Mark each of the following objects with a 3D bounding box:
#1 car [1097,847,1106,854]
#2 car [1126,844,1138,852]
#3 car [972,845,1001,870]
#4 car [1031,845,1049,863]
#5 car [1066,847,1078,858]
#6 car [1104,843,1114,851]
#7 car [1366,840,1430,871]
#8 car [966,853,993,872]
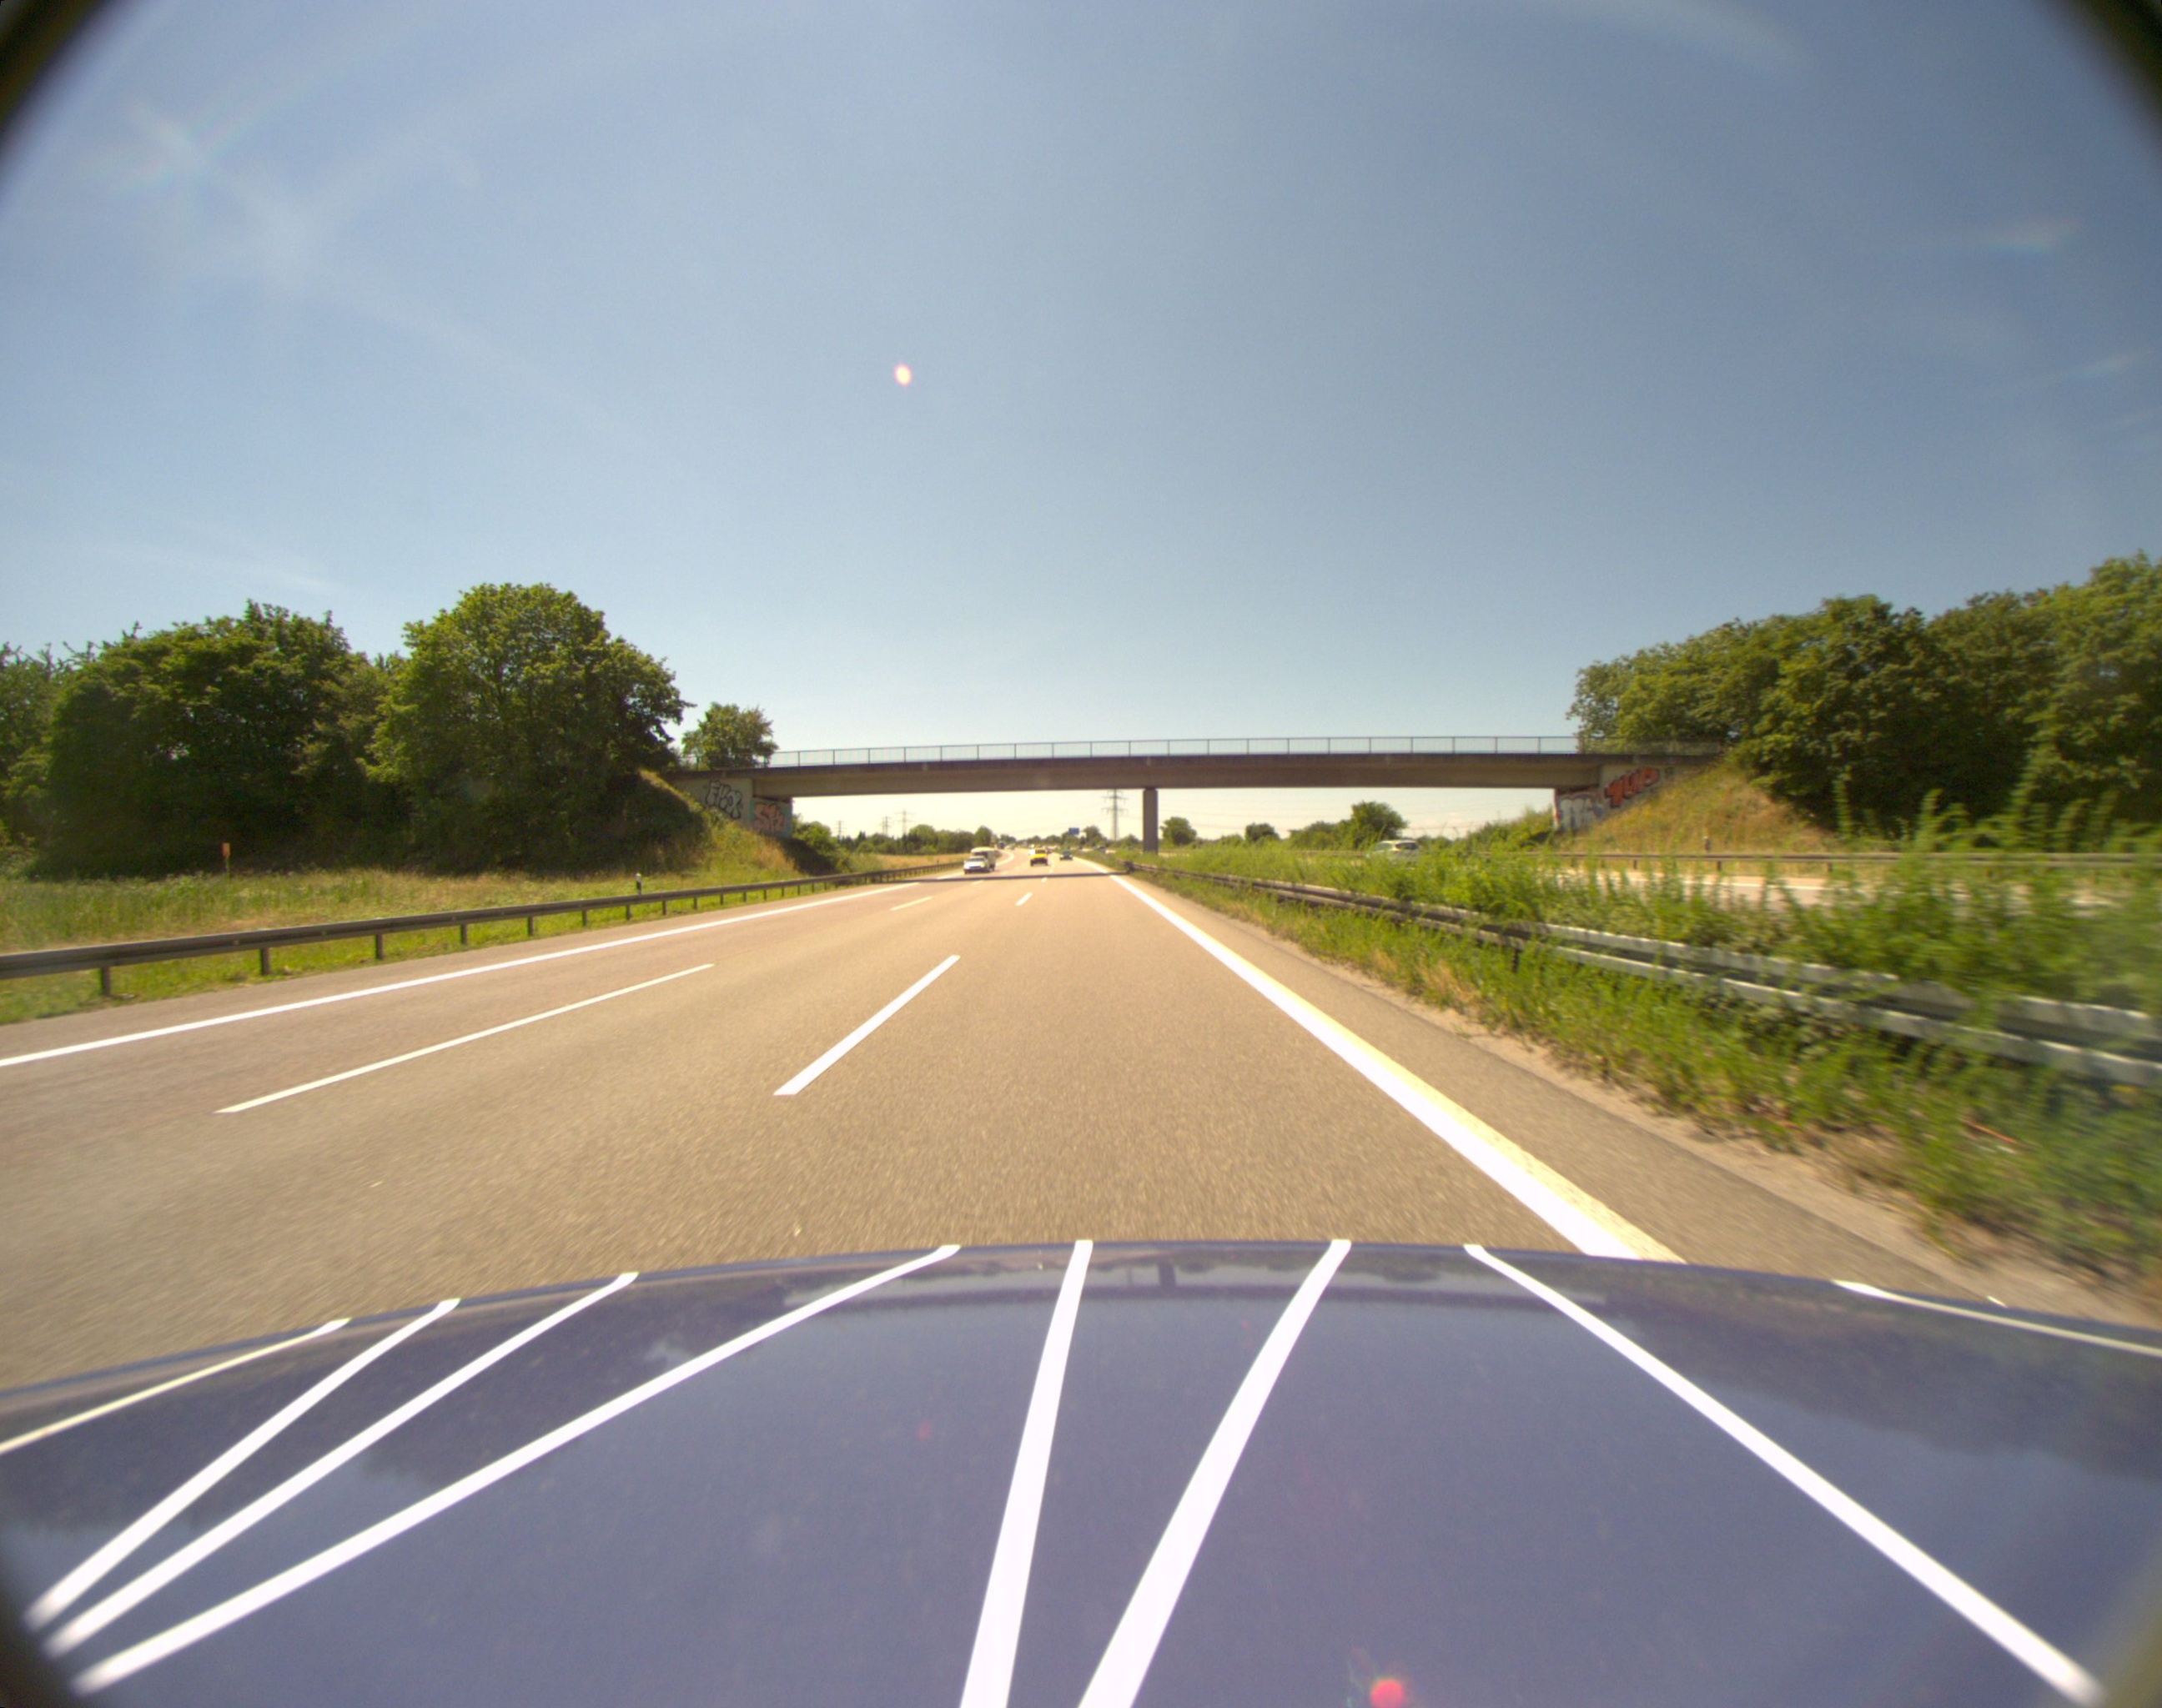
[{"bbox_3d":[4.632,-0.791,168.727,1.715,1.565,3.998,-1,1,-2],"label":"car"},{"bbox_3d":[10.601,-1.231,158.137,1.681,1.592,5.633,-3,1,-3],"label":"car"},{"bbox_3d":[-8.696,0.292,70.128,2.188,2.253,4.950,-1,1,-2],"label":"car"},{"bbox_3d":[-4.491,0.001,83.608,1.777,1.882,3.831,-1,1,-2],"label":"car"},{"bbox_3d":[-1.292,-0.229,113.022,1.726,1.478,3.999,-2,0,-1],"label":"car"},{"bbox_3d":[7.249,-1.745,195.906,1.909,2.002,4.822,-2,1,-4],"label":"car"},{"bbox_3d":[17.073,0.032,41.187,1.715,1.565,4.403,-1,1,1],"label":"car"},{"bbox_3d":[-8.447,0.695,63.438,1.784,1.467,3.999,-1,1,-2],"label":"car"}]
